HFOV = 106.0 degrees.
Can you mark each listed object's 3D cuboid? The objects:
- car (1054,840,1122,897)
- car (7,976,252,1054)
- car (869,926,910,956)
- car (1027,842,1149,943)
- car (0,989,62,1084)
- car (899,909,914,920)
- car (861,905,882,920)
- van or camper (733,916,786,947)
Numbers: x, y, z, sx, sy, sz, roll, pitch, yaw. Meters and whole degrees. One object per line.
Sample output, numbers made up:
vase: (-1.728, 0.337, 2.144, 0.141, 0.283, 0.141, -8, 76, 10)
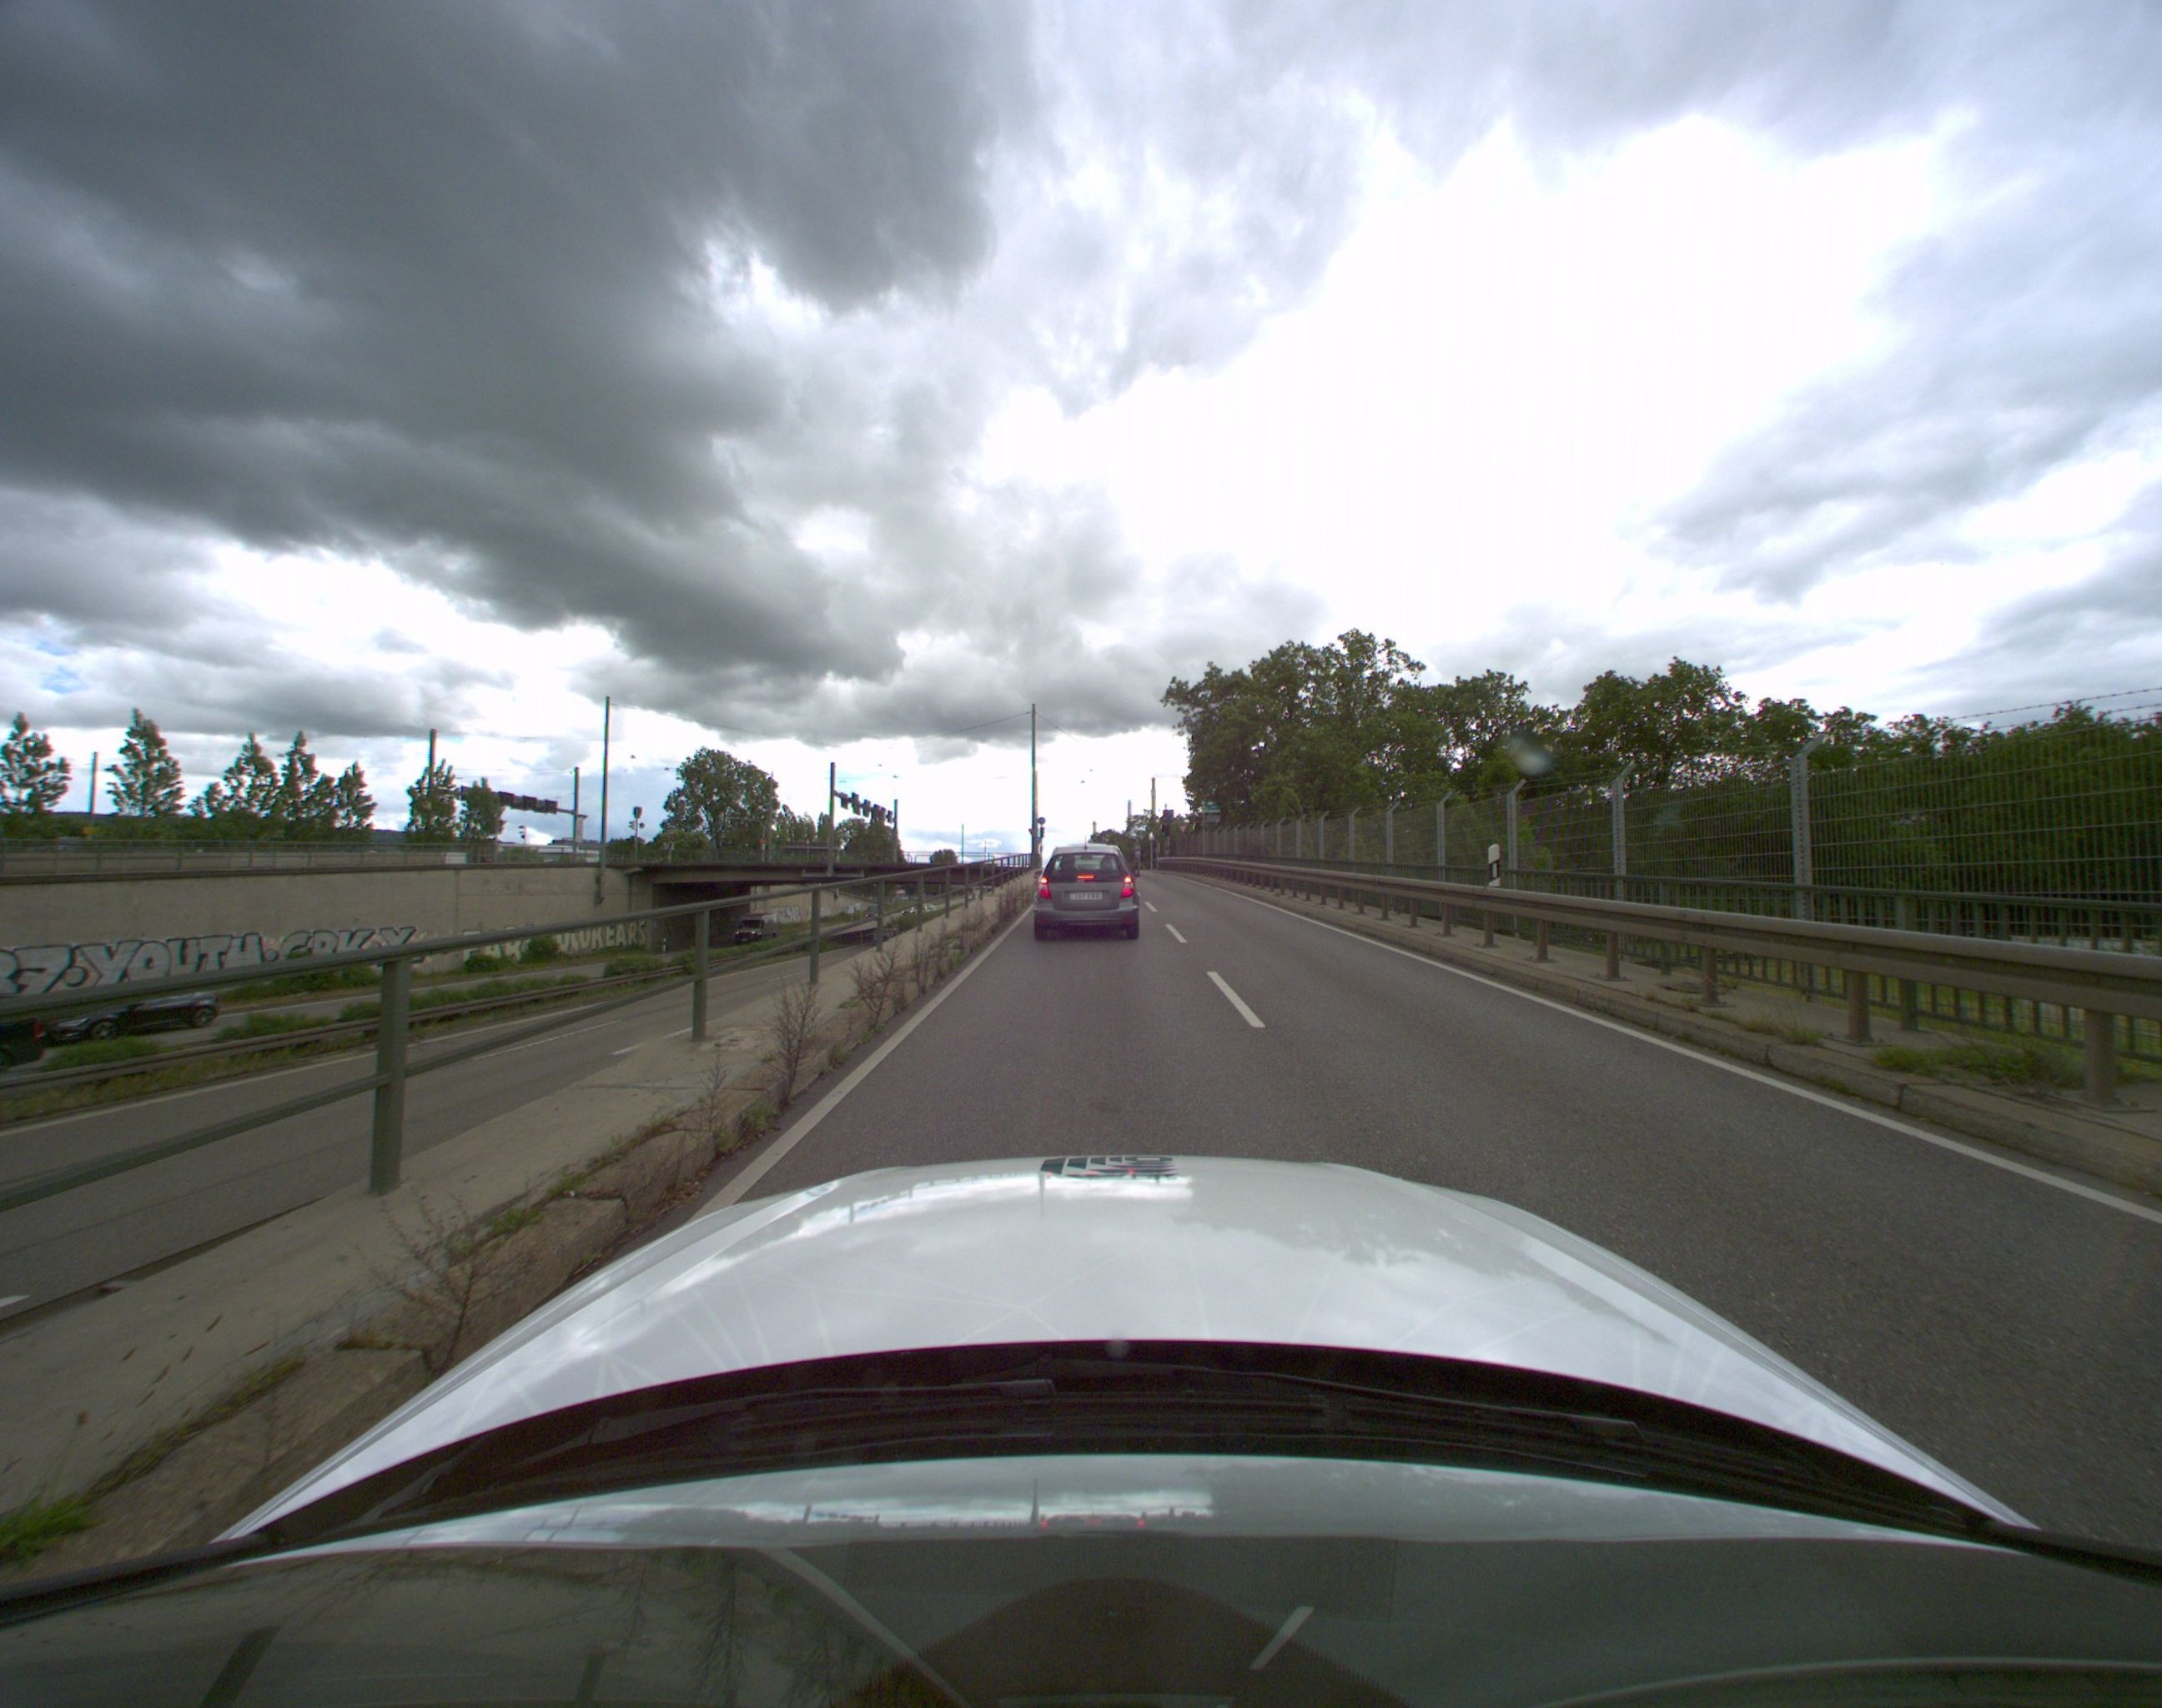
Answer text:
car: (0.244, 0.401, 26.087, 1.986, 1.603, 4.001, -1, 1, 1)
car: (-29.096, 4.870, 25.215, 1.987, 1.693, 4.701, -1, -3, 0)
car: (-12.742, 5.759, 54.356, 1.674, 1.736, 3.999, -2, -3, 2)
car: (0.273, 0.620, 14.966, 1.740, 1.580, 4.093, -1, 0, 8)
car: (-25.315, 4.114, 16.781, 2.086, 1.989, 5.113, -2, -3, 0)
car: (-30.500, 10.533, 142.673, 1.990, 1.689, 3.992, -1, -2, -5)
car: (-32.804, 9.117, 127.496, 2.287, 2.156, 6.169, -1, -3, -6)
van or camper: (-28.721, 6.883, 72.986, 2.175, 2.457, 6.345, 0, -3, 0)
